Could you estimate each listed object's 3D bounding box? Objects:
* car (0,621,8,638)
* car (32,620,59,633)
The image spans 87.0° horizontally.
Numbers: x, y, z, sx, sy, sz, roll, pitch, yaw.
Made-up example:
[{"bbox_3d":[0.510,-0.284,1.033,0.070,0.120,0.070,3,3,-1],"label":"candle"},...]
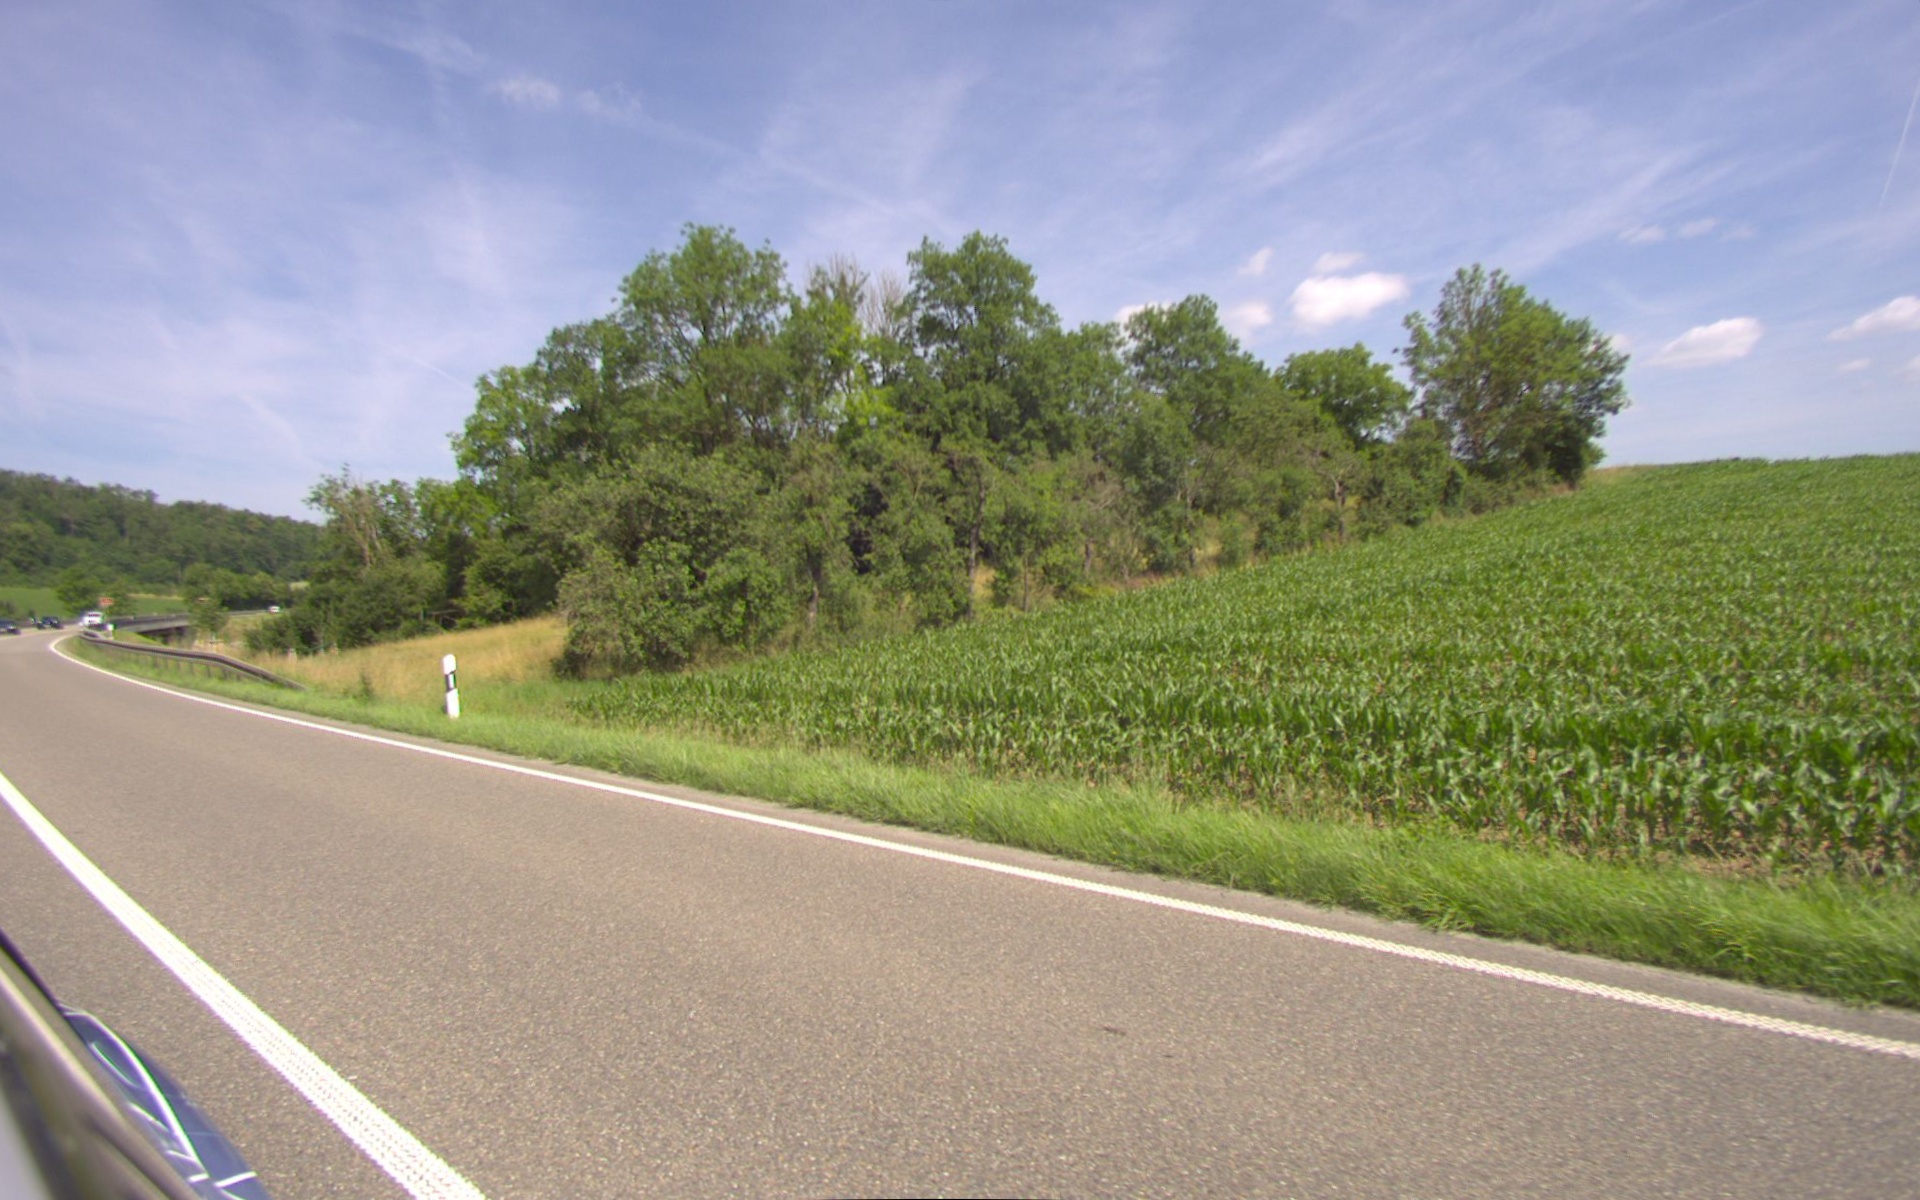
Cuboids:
[{"bbox_3d":[-87.325,2.663,91.531,1.717,1.465,4.041,0,-1,-42],"label":"car"},{"bbox_3d":[-106.303,3.089,117.675,1.714,1.465,4.047,0,-1,-32],"label":"car"}]
